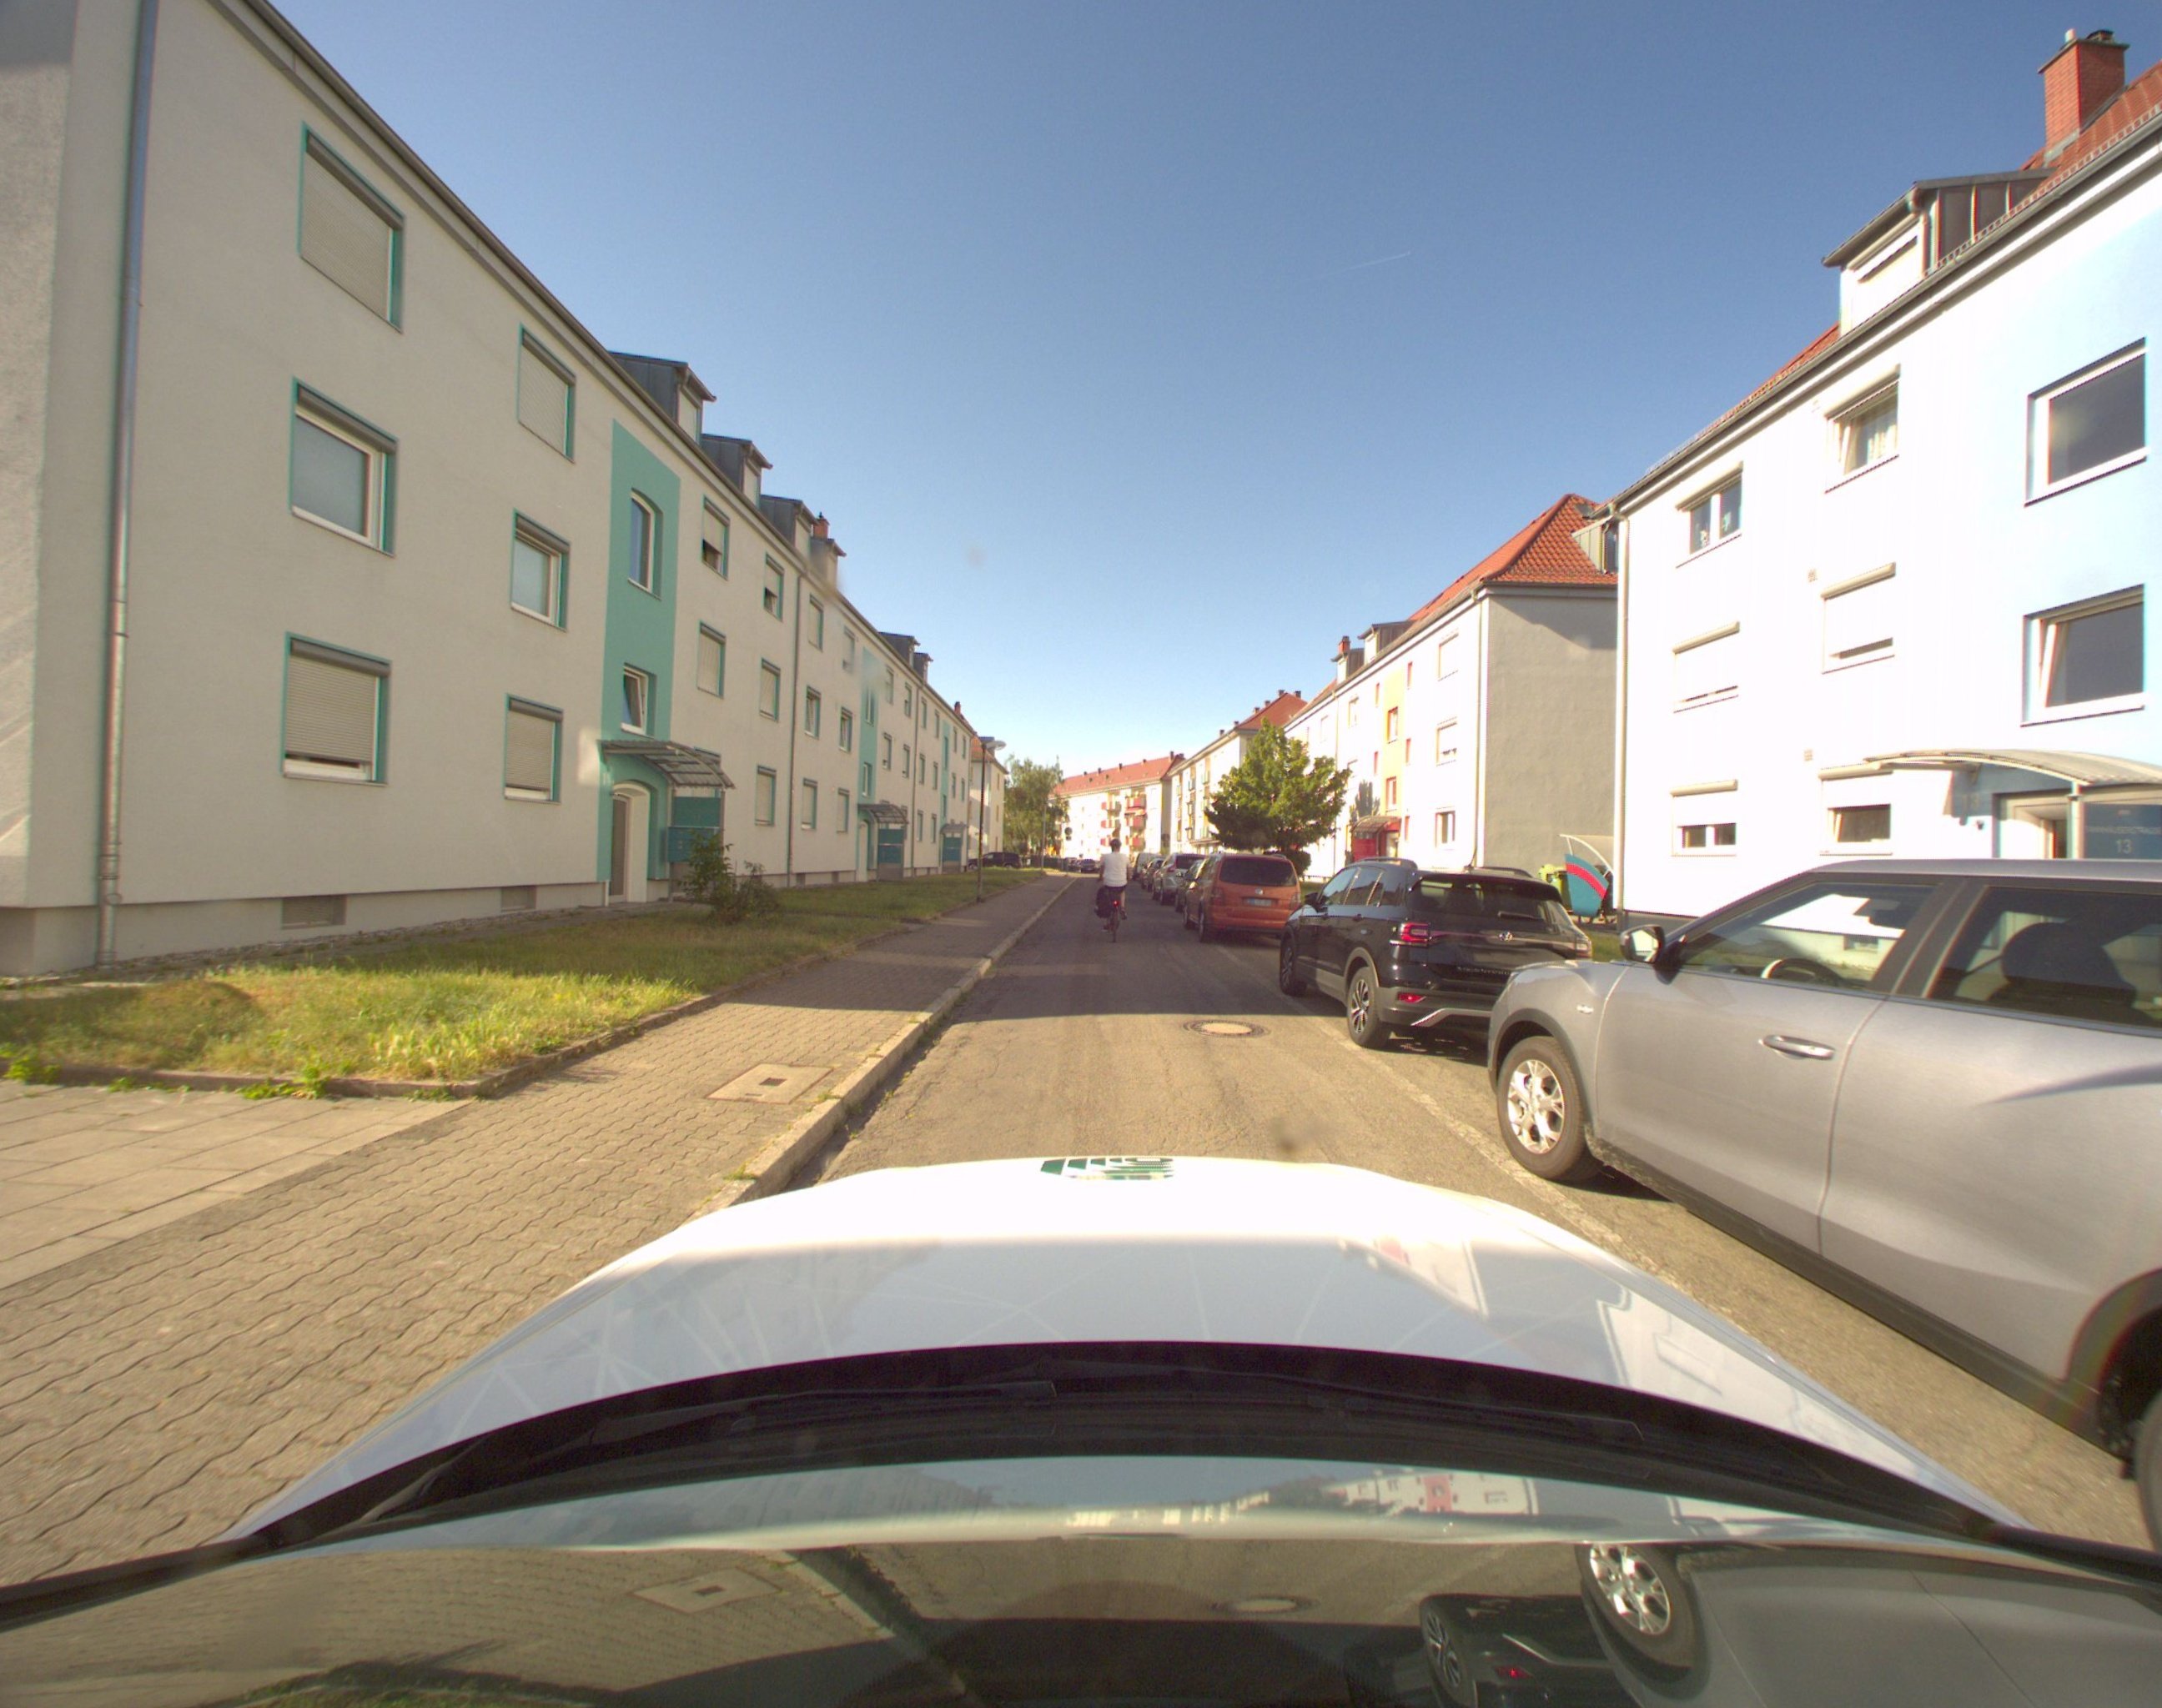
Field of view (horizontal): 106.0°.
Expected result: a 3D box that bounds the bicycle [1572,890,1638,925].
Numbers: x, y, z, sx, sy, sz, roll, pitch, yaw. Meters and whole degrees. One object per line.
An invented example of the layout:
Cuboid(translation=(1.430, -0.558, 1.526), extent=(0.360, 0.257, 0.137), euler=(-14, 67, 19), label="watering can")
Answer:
Cuboid(translation=(12.718, 1.285, 19.819), extent=(0.452, 0.740, 1.870), euler=(1, 0, 2), label="bicycle")

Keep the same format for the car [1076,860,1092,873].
Cuboid(translation=(0.292, 1.311, 87.333), extent=(1.466, 1.335, 3.138), euler=(-2, 0, -3), label="car")

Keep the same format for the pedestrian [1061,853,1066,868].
Cuboid(translation=(-1.707, 0.587, 79.010), extent=(0.433, 1.427, 0.543), euler=(2, 0, 1), label="pedestrian")

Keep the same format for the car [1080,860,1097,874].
Cuboid(translation=(0.741, 1.318, 82.943), extent=(1.466, 1.335, 3.137), euler=(-2, 0, -3), label="car")

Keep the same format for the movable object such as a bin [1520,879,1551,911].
Cuboid(translation=(13.215, 1.198, 23.689), extent=(0.521, 0.886, 0.633), euler=(1, 0, 1), label="movable object such as a bin")

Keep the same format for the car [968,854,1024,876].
Cuboid(translation=(-6.684, 0.840, 64.299), extent=(4.221, 1.638, 1.581), euler=(1, 0, -3), label="car")

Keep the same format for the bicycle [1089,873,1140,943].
Cuboid(translation=(0.574, 0.934, 14.799), extent=(0.806, 1.128, 2.101), euler=(0, 0, -1), label="bicycle")

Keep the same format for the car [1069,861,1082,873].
Cuboid(translation=(-0.656, 1.495, 93.993), extent=(1.465, 1.335, 3.139), euler=(-2, 0, -2), label="car")

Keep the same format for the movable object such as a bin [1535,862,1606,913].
Cuboid(translation=(14.164, 0.946, 23.597), extent=(1.355, 1.416, 1.188), euler=(1, 0, 1), label="movable object such as a bin")

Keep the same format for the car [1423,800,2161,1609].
Cuboid(translation=(3.060, 0.746, 2.850), extent=(1.745, 1.617, 4.450), euler=(4, 0, -1), label="car")

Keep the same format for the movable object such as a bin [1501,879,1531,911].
Cuboid(translation=(12.660, 1.200, 23.711), extent=(0.521, 0.886, 0.633), euler=(1, 0, 1), label="movable object such as a bin")

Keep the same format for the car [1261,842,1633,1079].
Cuboid(translation=(3.134, 0.765, 8.094), extent=(1.706, 1.595, 4.398), euler=(4, 0, 1), label="car")

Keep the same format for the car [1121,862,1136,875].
Cuboid(translation=(5.420, 1.661, 92.450), extent=(1.465, 1.335, 3.140), euler=(2, 0, -1), label="car")

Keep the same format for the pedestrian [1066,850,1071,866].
Cuboid(translation=(-1.202, 0.360, 79.099), extent=(0.433, 1.574, 0.543), euler=(2, 0, 1), label="pedestrian")

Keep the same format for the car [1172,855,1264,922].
Cuboid(translation=(3.460, 0.826, 21.213), extent=(1.613, 1.460, 3.839), euler=(4, 0, -1), label="car")

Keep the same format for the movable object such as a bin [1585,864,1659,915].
Cuboid(translation=(15.647, 1.013, 23.609), extent=(1.355, 1.416, 1.188), euler=(1, 0, 1), label="movable object such as a bin")

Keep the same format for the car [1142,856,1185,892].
Cuboid(translation=(3.546, 0.815, 35.601), extent=(1.553, 1.411, 3.934), euler=(2, 0, 1), label="car")

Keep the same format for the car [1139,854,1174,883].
Cuboid(translation=(4.142, 0.761, 45.138), extent=(1.554, 1.453, 3.365), euler=(2, 0, -1), label="car")

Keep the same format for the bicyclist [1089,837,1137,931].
Cuboid(translation=(0.571, 0.532, 14.862), extent=(0.806, 1.643, 0.898), euler=(0, 0, -1), label="bicyclist")

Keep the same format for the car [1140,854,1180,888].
Cuboid(translation=(3.884, 0.819, 40.500), extent=(1.554, 1.576, 3.365), euler=(2, 0, -1), label="car")

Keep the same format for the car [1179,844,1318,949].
Cuboid(translation=(3.073, 0.719, 15.760), extent=(1.855, 1.668, 4.128), euler=(3, 0, 1), label="car")

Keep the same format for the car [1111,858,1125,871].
Cuboid(translation=(4.505, 1.269, 99.246), extent=(1.377, 1.497, 3.076), euler=(2, 0, -1), label="car")

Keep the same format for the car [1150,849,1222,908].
Cuboid(translation=(3.304, 0.712, 26.347), extent=(1.695, 1.671, 4.379), euler=(3, 0, 0), label="car")

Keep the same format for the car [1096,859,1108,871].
Cuboid(translation=(2.924, 1.539, 112.051), extent=(1.465, 1.516, 3.076), euler=(2, 0, -1), label="car")

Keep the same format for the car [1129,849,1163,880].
Cuboid(translation=(3.943, 0.623, 49.856), extent=(1.669, 1.738, 3.941), euler=(2, 0, -1), label="car")
